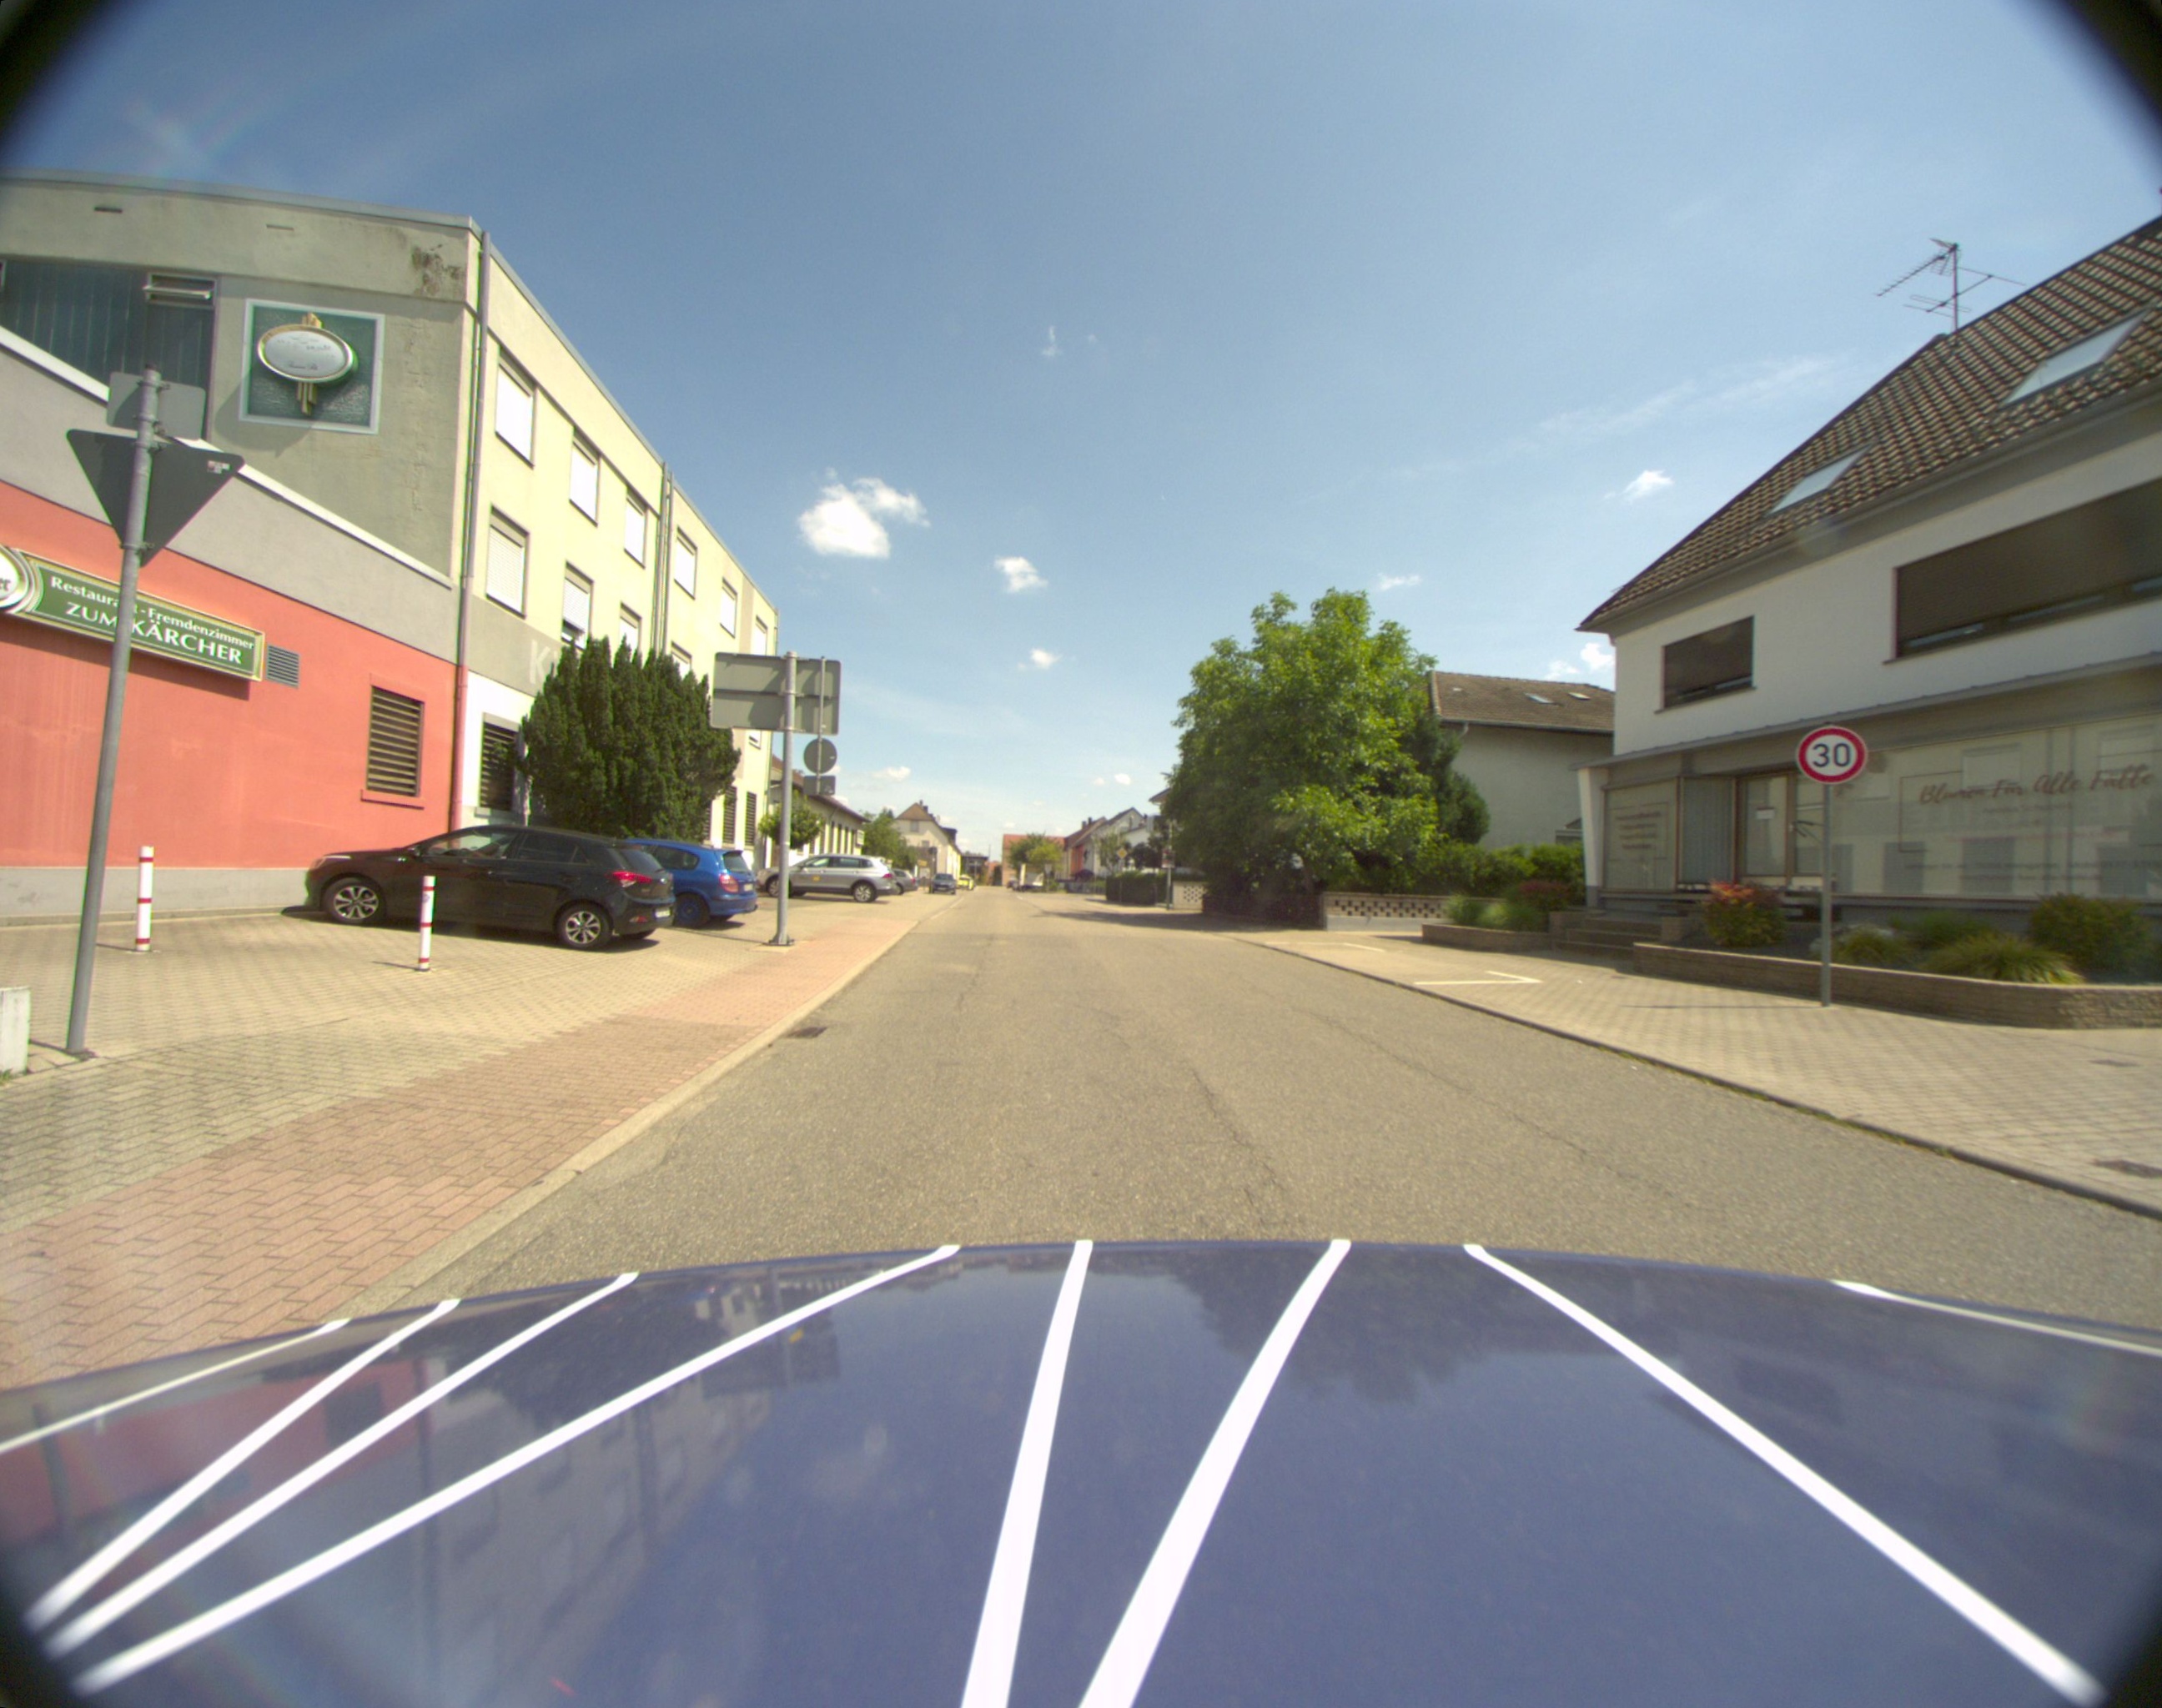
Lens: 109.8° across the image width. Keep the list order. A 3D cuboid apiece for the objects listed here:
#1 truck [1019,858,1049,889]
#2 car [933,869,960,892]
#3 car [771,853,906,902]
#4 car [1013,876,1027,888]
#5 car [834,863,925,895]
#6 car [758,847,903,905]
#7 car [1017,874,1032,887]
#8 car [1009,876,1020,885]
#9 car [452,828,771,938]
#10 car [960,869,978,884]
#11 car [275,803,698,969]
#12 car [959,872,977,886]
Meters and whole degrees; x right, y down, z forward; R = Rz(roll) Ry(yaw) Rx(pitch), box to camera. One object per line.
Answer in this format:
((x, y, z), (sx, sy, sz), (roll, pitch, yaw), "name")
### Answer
((-5.544, 2.317, 88.827), (2.446, 3.226, 7.032), (6, -2, -9), "truck")
((-9.394, 1.853, 53.288), (1.633, 1.479, 4.137), (3, -2, -8), "car")
((-9.153, 0.907, 29.023), (4.515, 1.510, 1.999), (4, -2, -8), "car")
((-8.723, 3.973, 108.521), (1.722, 1.491, 4.213), (5, -2, -8), "car")
((-11.104, 1.372, 42.122), (4.541, 1.445, 1.917), (4, -2, -7), "car")
((-8.702, 0.793, 26.790), (4.468, 1.686, 1.922), (4, -2, -9), "car")
((-7.611, 3.580, 102.428), (1.722, 1.491, 4.213), (5, -2, -8), "car")
((-12.232, 4.861, 138.824), (1.722, 1.491, 4.213), (5, -2, -8), "car")
((-8.021, 0.484, 13.380), (4.337, 1.431, 1.778), (6, 0, -8), "car")
((-12.883, 2.604, 87.547), (1.722, 1.491, 4.214), (6, -2, -7), "car")
((-7.600, 0.421, 10.143), (3.909, 1.481, 1.808), (9, -1, -9), "car")
((-12.321, 2.720, 82.893), (1.722, 1.389, 4.214), (6, -2, -7), "car")
